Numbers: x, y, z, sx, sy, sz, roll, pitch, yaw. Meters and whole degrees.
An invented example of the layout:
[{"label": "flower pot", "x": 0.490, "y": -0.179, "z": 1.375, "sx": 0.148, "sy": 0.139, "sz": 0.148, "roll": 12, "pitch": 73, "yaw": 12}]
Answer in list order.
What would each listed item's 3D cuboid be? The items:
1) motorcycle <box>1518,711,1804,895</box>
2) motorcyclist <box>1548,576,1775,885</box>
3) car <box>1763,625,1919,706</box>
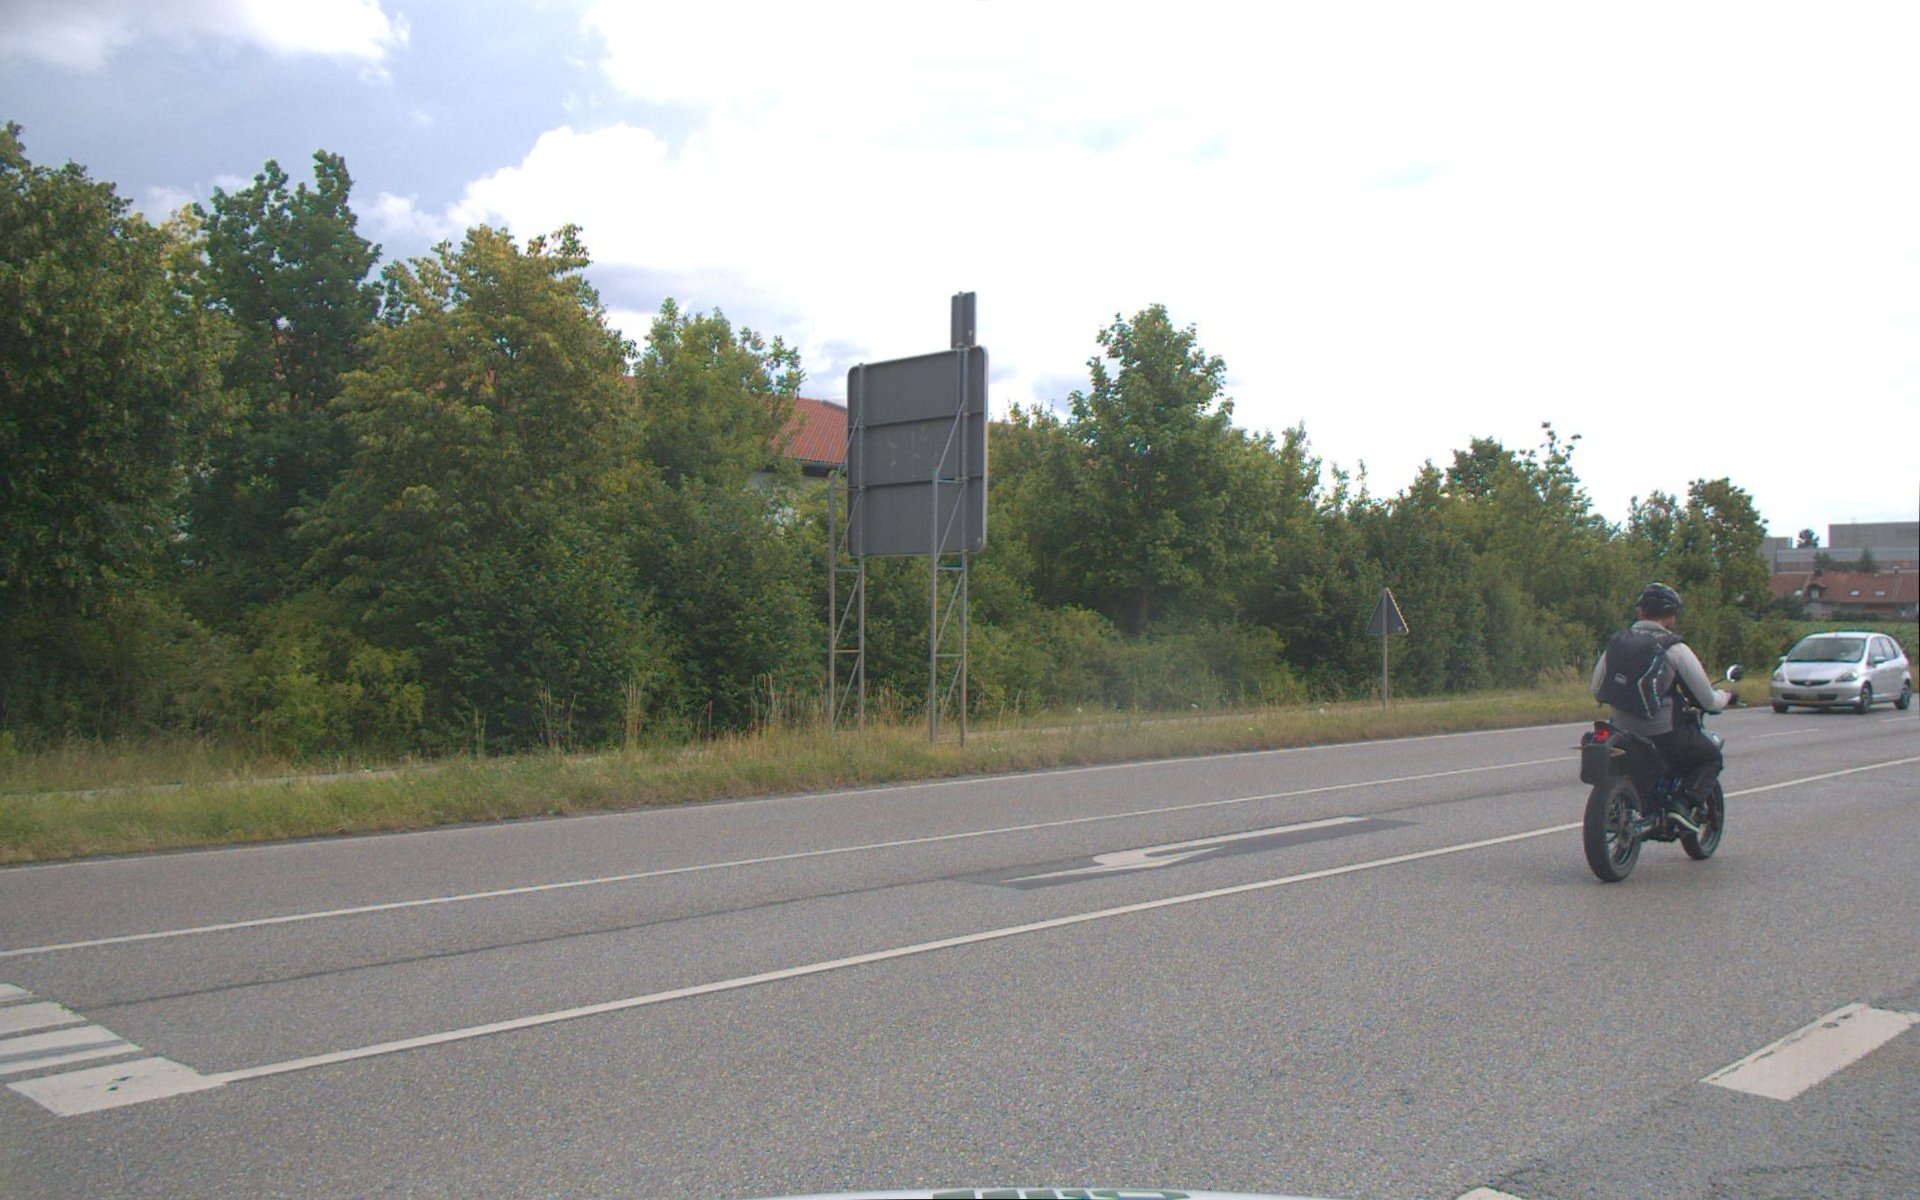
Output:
[{"label": "motorcycle", "x": 4.422, "y": 1.208, "z": 10.346, "sx": 2.130, "sy": 0.905, "sz": 0.929, "roll": 1, "pitch": -1, "yaw": -45}, {"label": "motorcyclist", "x": 4.376, "y": 0.757, "z": 10.303, "sx": 1.191, "sy": 1.780, "sz": 0.929, "roll": 1, "pitch": -1, "yaw": -45}, {"label": "car", "x": 17.136, "y": 1.236, "z": 32.020, "sx": 1.706, "sy": 1.457, "sz": 3.907, "roll": -2, "pitch": -2, "yaw": 44}]
